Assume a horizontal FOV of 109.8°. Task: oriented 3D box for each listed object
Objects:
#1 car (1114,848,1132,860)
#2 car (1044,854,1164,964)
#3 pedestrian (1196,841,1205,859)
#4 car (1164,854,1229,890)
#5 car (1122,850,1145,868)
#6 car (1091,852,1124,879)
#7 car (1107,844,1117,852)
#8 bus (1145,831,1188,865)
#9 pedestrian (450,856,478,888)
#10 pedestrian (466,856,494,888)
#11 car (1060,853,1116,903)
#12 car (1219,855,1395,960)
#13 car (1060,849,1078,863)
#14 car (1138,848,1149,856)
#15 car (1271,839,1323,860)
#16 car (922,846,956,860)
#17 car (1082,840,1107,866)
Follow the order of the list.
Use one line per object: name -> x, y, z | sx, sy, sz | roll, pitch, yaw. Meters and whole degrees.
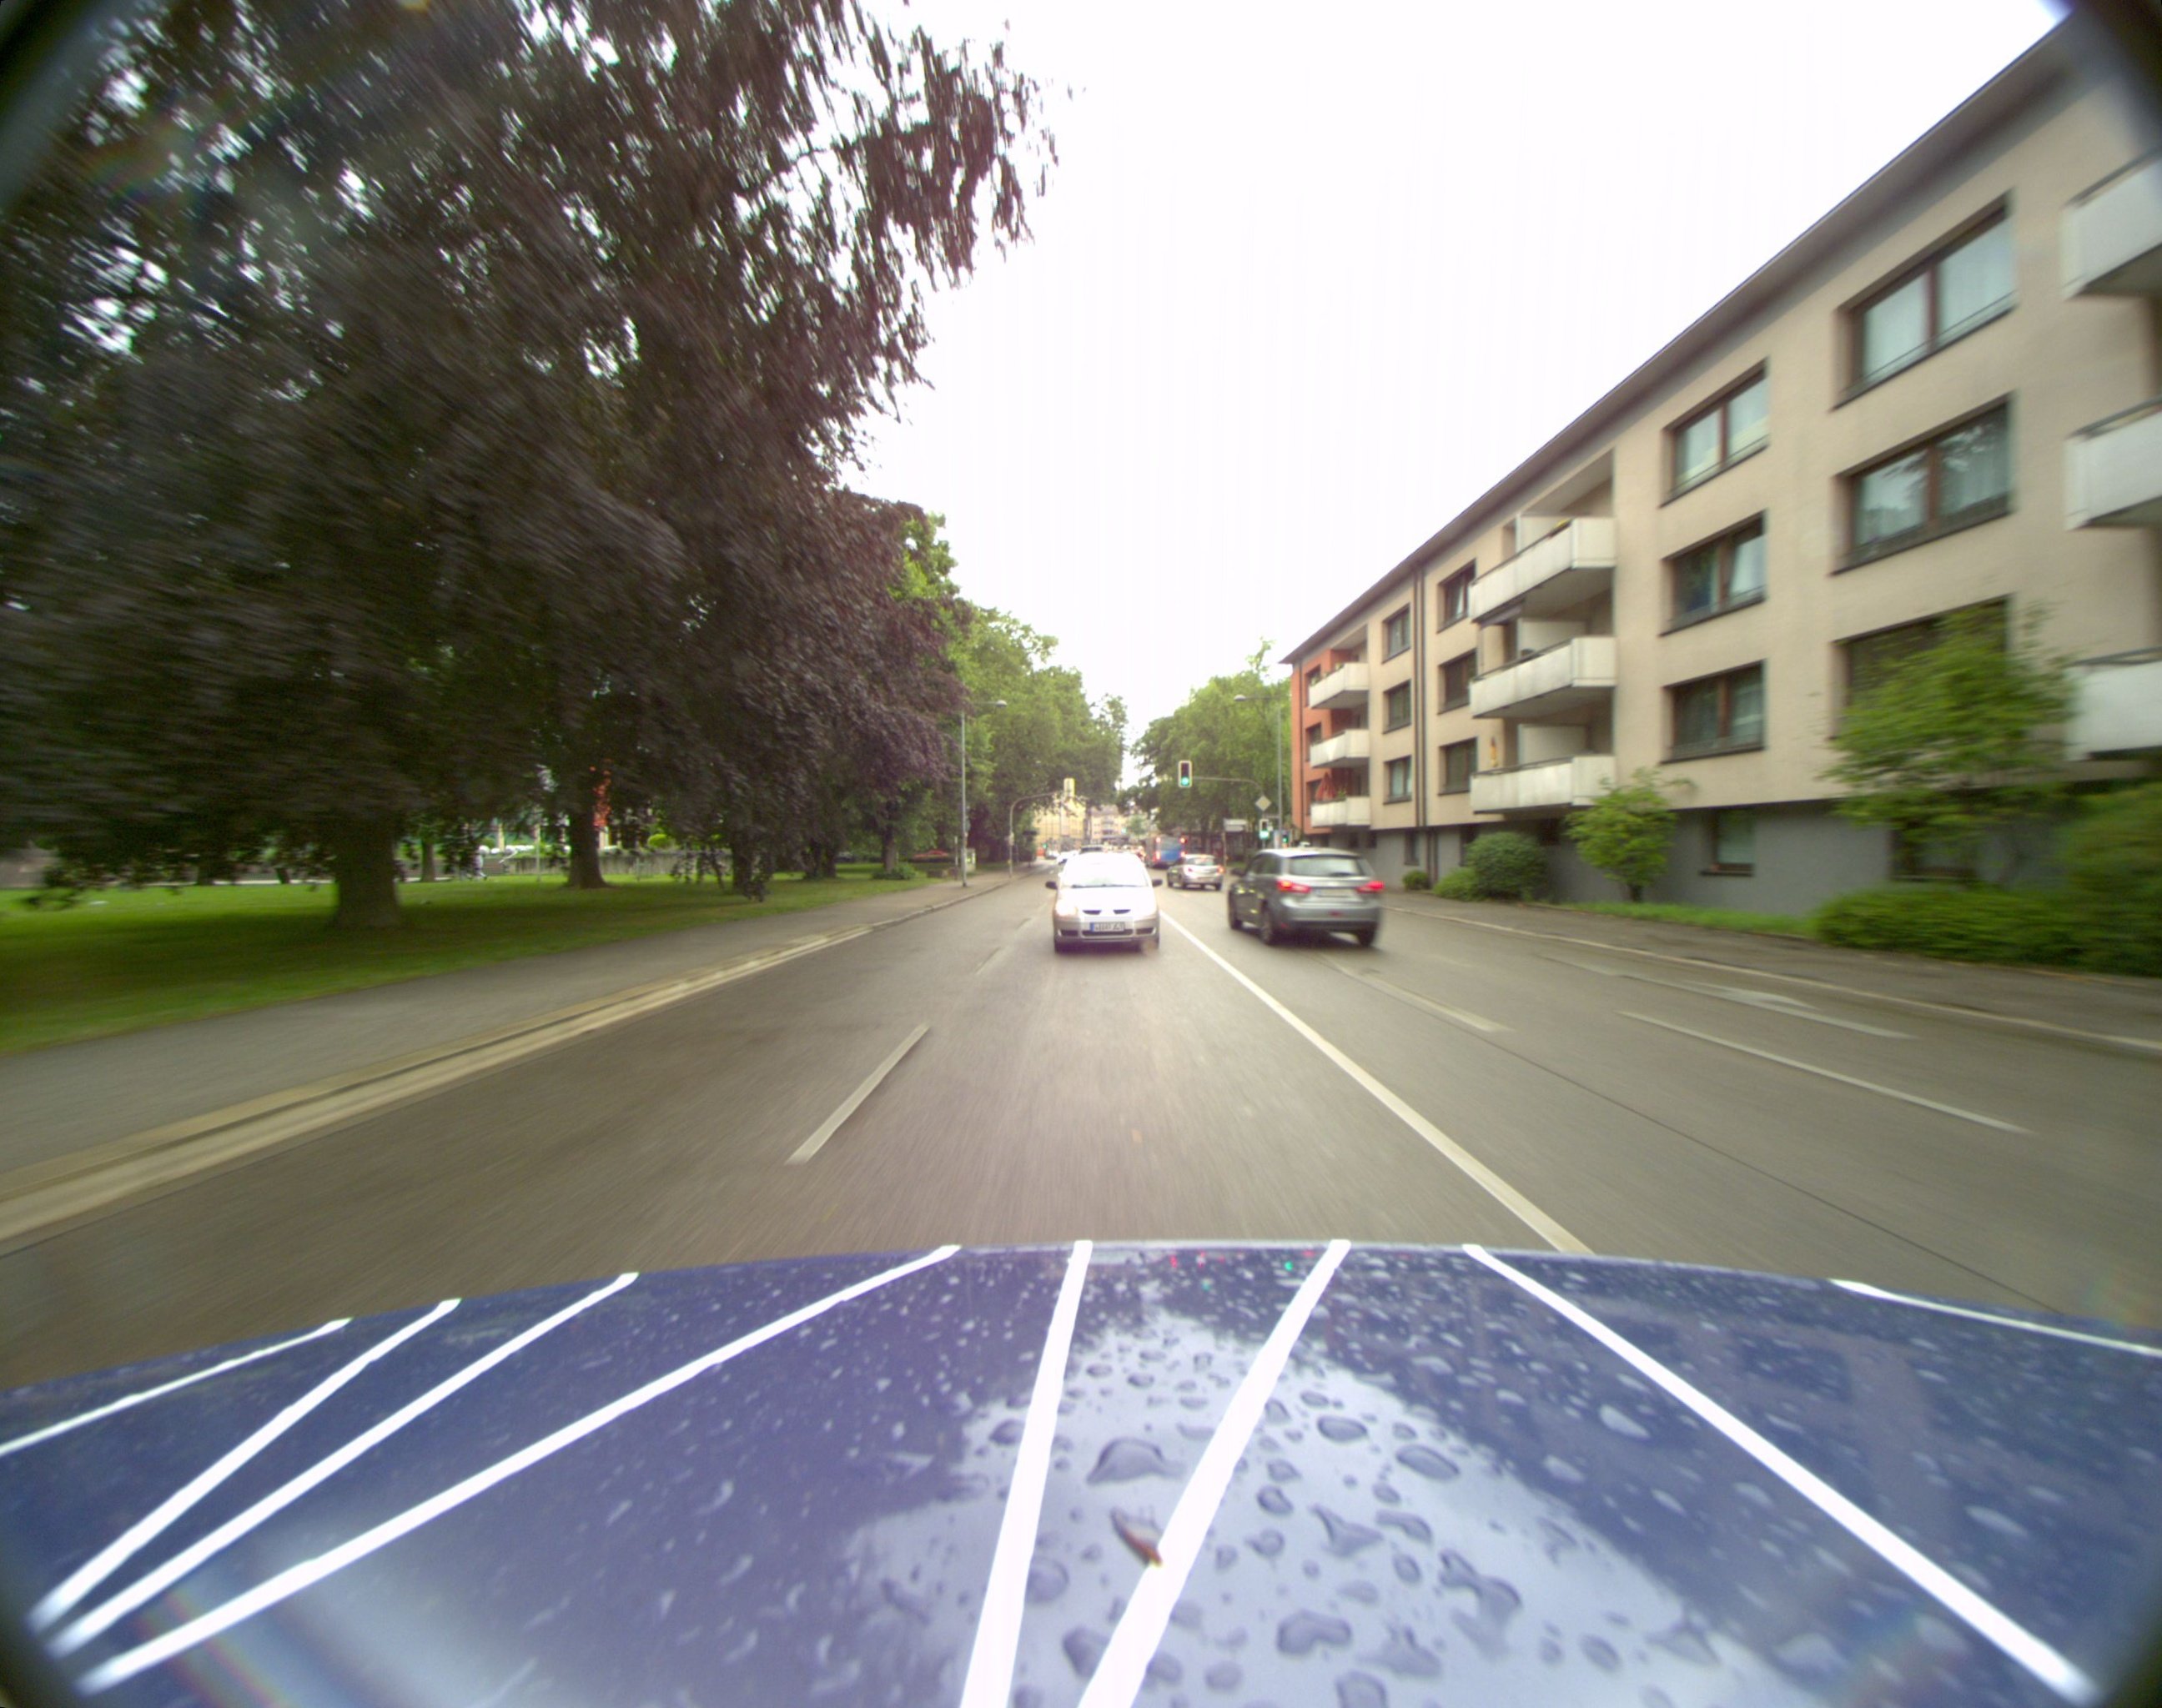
car -> 4.901, -0.011, 89.094 | 1.798, 1.407, 4.335 | 0, 0, 0
car -> 0.357, 0.822, 13.685 | 1.718, 1.509, 4.806 | -3, 1, 0
pedestrian -> 12.233, -0.393, 77.831 | 0.711, 1.759, 0.687 | -3, 2, 1
car -> 4.852, 0.717, 32.359 | 1.818, 1.407, 4.046 | 0, 0, -5
car -> 4.456, 0.383, 64.411 | 1.691, 1.483, 3.889 | 1, 0, 0
car -> 1.542, 0.629, 44.465 | 1.800, 1.449, 4.491 | 0, 1, 1
car -> 6.350, -1.172, 154.404 | 1.802, 1.509, 4.580 | 1, 0, 0
bus -> 7.717, -0.611, 70.146 | 2.700, 2.923, 12.082 | 0, 1, 1
pedestrian -> -35.206, 1.041, 43.391 | 0.840, 1.753, 0.771 | -3, 2, -5
pedestrian -> -35.150, 1.041, 44.453 | 0.840, 1.753, 0.879 | -3, 2, -5
car -> 0.227, 0.745, 25.690 | 1.718, 1.509, 4.088 | -1, 1, 0
car -> 3.772, 0.806, 13.503 | 1.818, 1.569, 4.231 | 0, 0, -1
car -> -1.353, 0.167, 89.655 | 1.906, 1.538, 3.999 | -1, 1, 2
car -> 12.523, -0.398, 152.779 | 1.802, 1.509, 4.807 | 1, 0, 0
car -> 19.813, -0.407, 69.795 | 4.334, 1.911, 1.702 | 0, 1, -2
car -> -18.342, -0.153, 98.177 | 3.998, 1.706, 1.999 | 0, 1, -2
car -> 1.148, -0.119, 64.107 | 2.037, 2.119, 3.999 | -1, 1, 2
